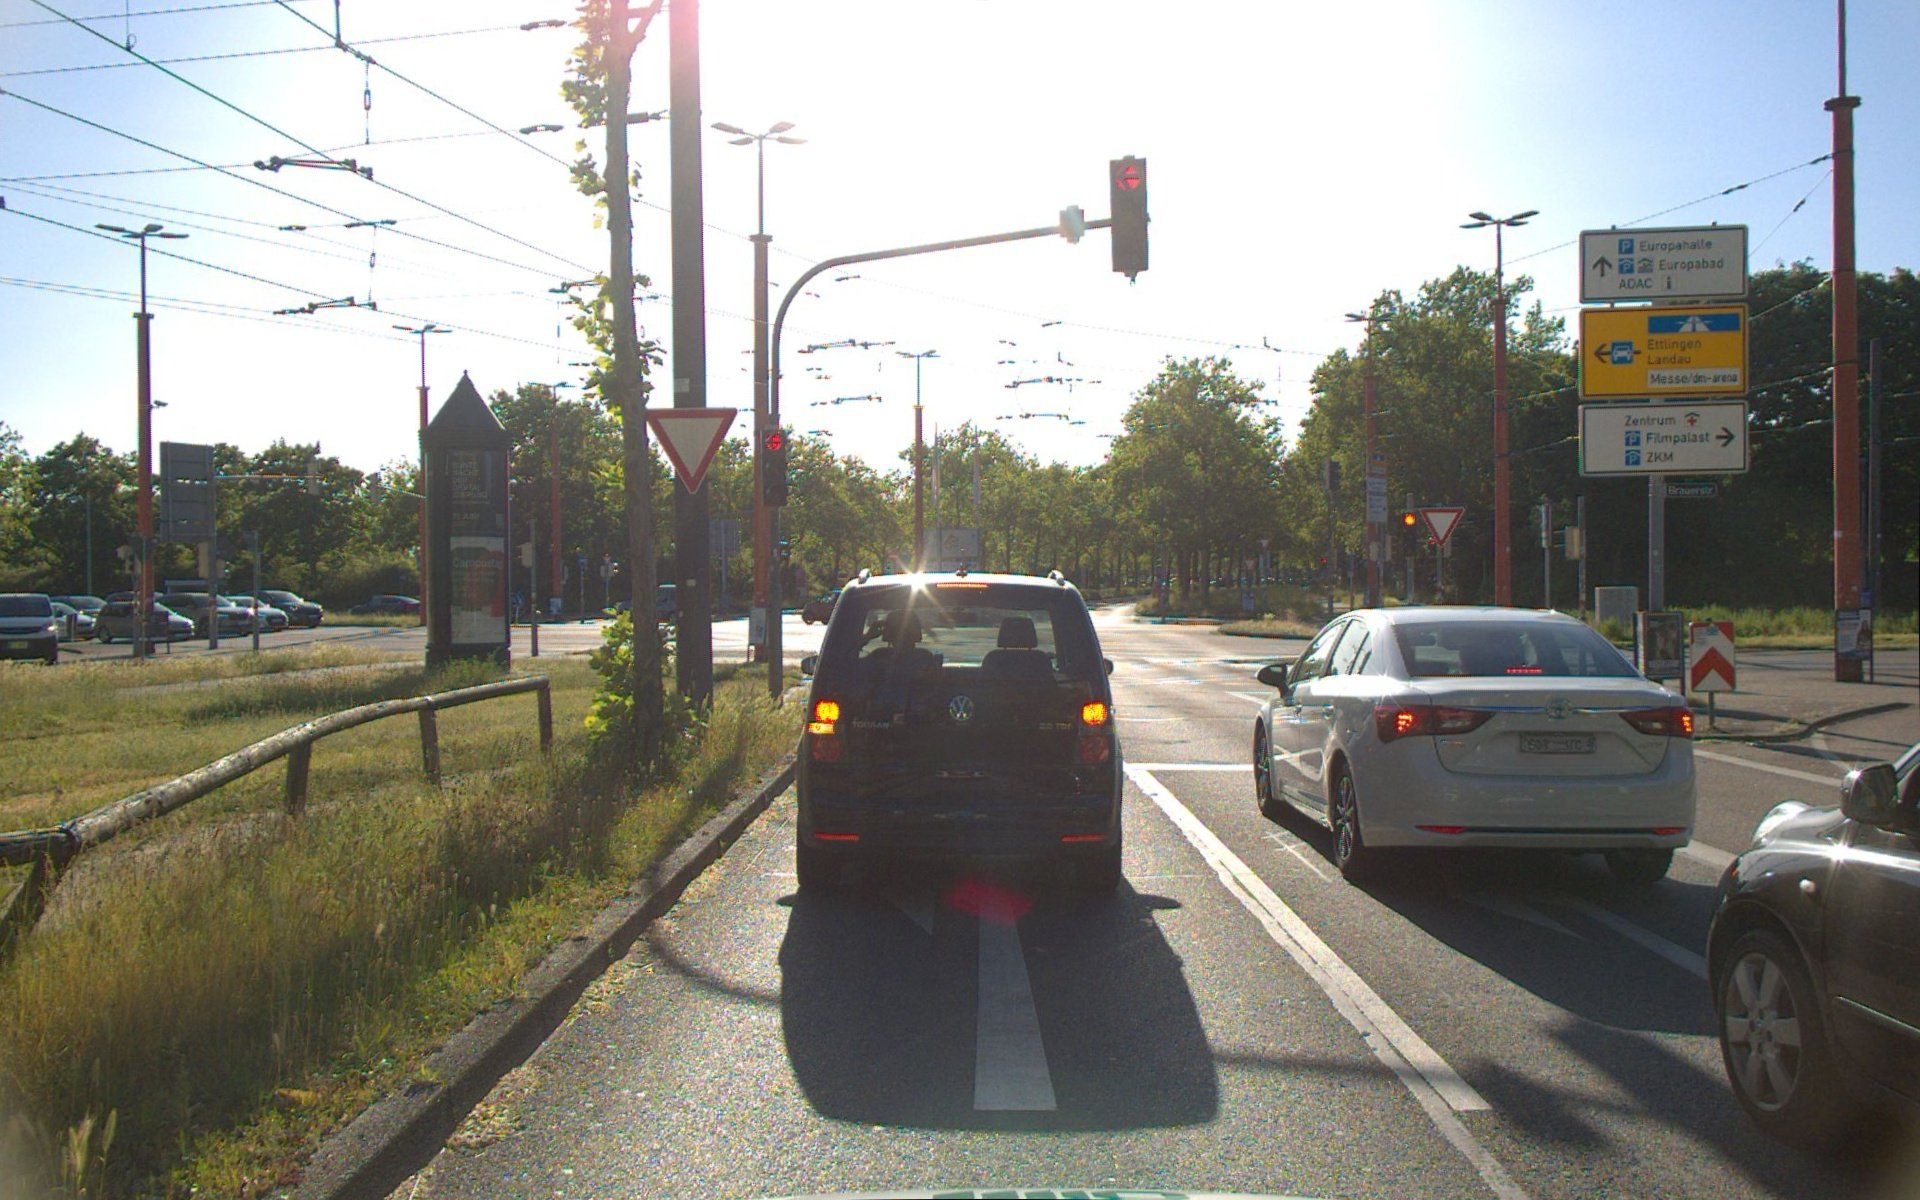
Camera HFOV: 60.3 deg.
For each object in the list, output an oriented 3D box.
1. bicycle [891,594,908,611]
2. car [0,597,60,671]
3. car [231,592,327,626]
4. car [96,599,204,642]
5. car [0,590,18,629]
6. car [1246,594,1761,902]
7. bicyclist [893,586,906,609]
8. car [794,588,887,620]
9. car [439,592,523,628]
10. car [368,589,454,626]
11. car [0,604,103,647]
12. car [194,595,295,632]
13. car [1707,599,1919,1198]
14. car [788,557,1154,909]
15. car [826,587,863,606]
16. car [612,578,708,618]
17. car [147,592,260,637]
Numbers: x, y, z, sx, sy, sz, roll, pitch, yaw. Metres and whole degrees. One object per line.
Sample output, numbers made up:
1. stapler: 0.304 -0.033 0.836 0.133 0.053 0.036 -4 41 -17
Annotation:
1. bicycle: -5.001 0.218 136.211 0.955 1.413 2.982 0 0 6
2. car: -25.477 0.866 44.666 1.809 1.853 4.849 0 0 -32
3. car: -29.466 0.370 71.556 4.060 1.440 1.542 0 0 26
4. car: -29.542 0.728 60.307 3.755 1.466 1.655 0 0 27
5. car: -42.983 0.380 71.642 4.541 1.676 1.753 0 0 30
6. car: 3.014 0.728 10.189 1.762 1.465 4.326 1 0 0
7. bicyclist: -4.994 -0.213 136.252 0.955 1.937 1.051 0 0 6
8. car: -5.566 0.170 77.172 4.036 1.427 1.656 0 0 25
9. car: -24.910 0.519 85.937 4.037 1.822 1.797 0 0 25
10. car: -28.062 0.360 84.536 4.036 1.822 1.798 0 0 24
11. car: -34.936 0.967 63.260 4.536 1.546 1.654 0 0 30
12. car: -29.403 0.529 67.933 4.060 1.440 1.542 0 0 26
13. car: 3.135 0.742 3.493 1.544 1.465 3.441 1 0 0
14. car: 0.066 0.635 9.968 1.703 1.630 4.326 1 0 0
15. car: -8.735 -0.275 125.628 1.616 1.427 4.136 0 0 14
16. car: -13.843 -0.101 76.275 4.036 1.822 1.798 0 0 24
17. car: -29.316 0.538 64.098 4.541 1.676 1.654 0 0 30
